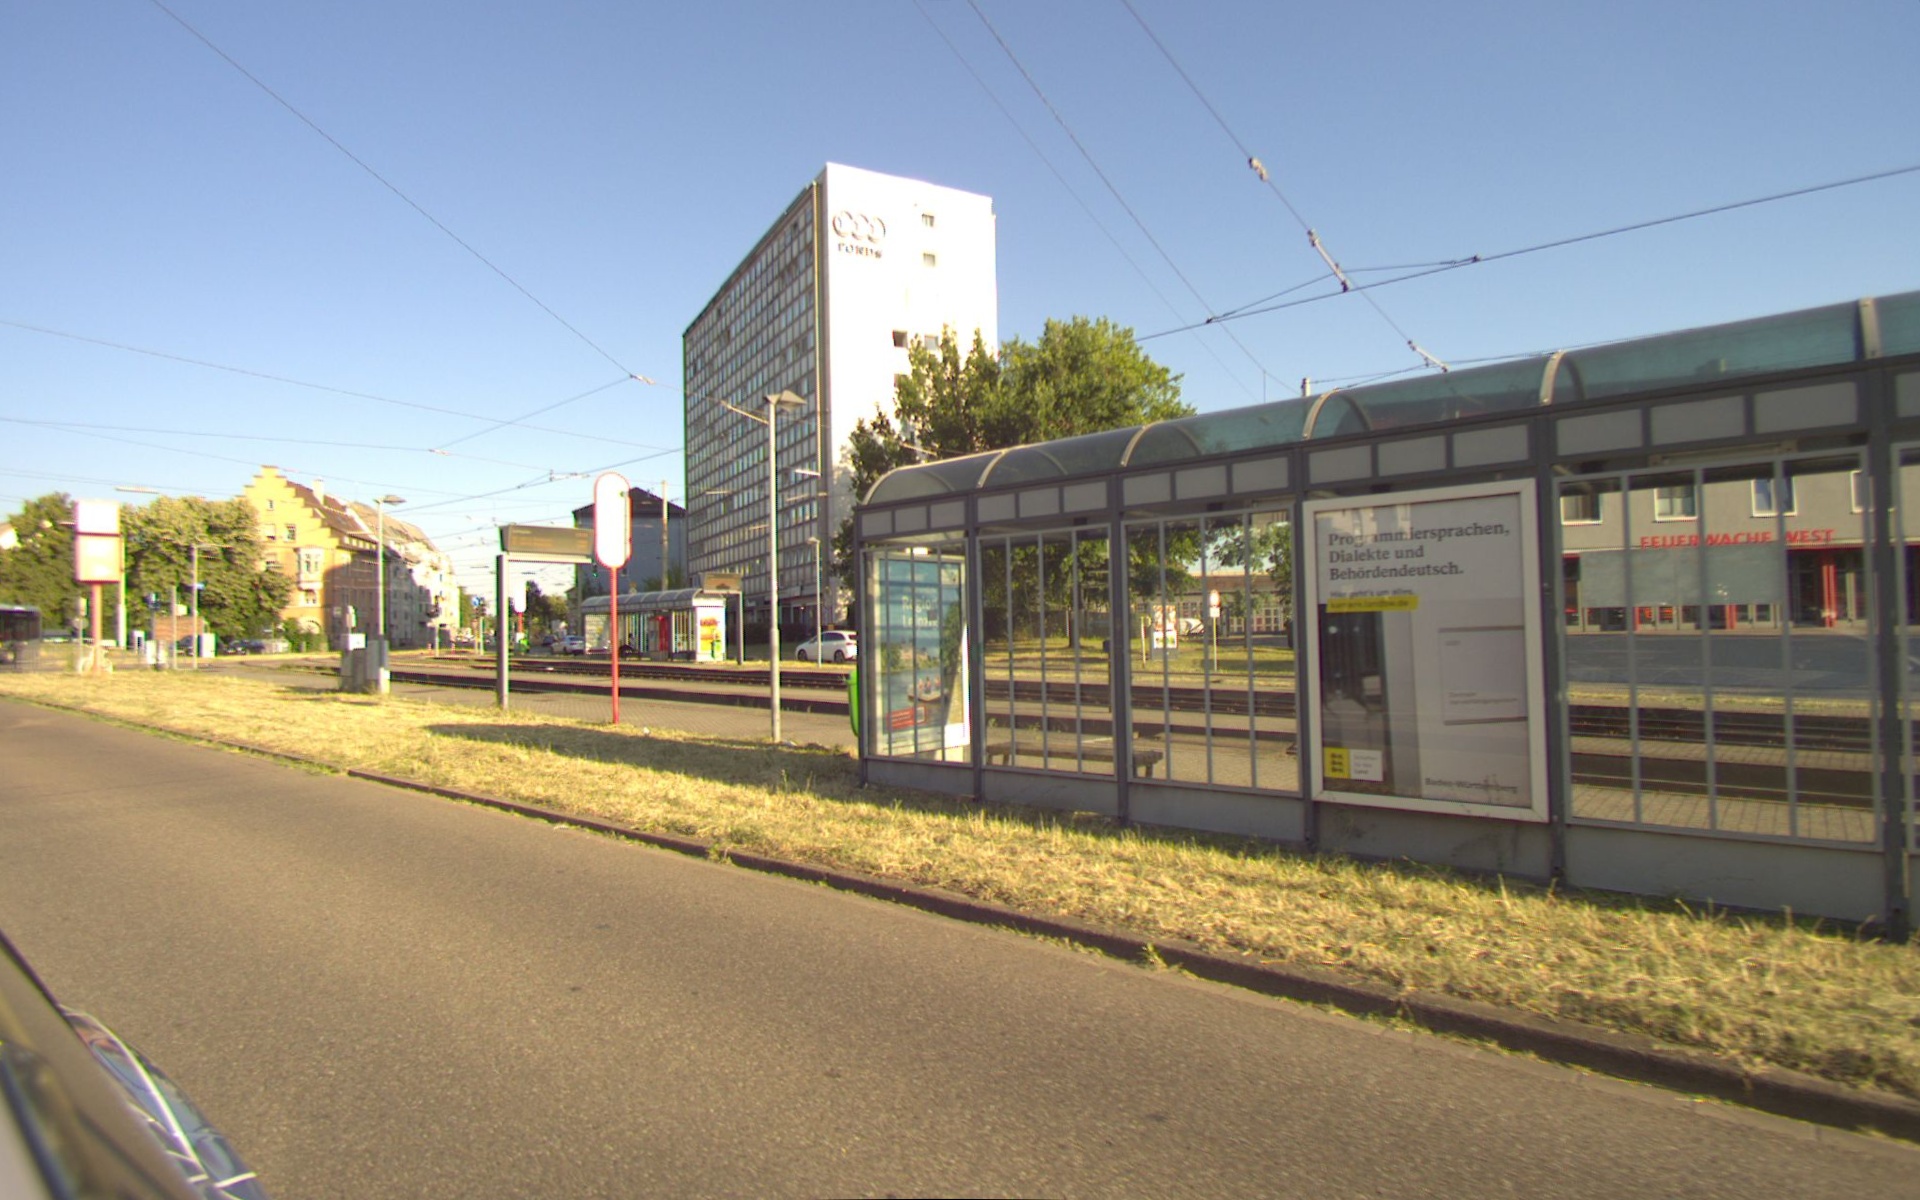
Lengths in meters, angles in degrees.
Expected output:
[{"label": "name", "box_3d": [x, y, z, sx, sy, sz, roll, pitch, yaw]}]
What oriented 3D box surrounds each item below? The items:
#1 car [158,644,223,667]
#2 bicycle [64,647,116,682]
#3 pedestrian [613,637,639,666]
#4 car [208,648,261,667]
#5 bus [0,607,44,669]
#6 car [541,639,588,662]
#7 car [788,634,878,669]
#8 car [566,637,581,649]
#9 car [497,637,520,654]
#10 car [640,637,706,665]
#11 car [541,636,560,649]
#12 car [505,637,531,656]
[{"label": "car", "box_3d": [-53.778, 3.865, 70.813, 1.716, 1.485, 3.981, -1, -2, -3]}, {"label": "bicycle", "box_3d": [-26.460, 1.937, 30.811, 0.597, 1.001, 1.752, 0, -2, -20]}, {"label": "pedestrian", "box_3d": [-15.645, 2.405, 47.390, 0.661, 1.277, 0.942, -1, -1, 37]}, {"label": "car", "box_3d": [-59.776, 4.736, 83.430, 1.716, 1.425, 3.981, -1, -2, -3]}, {"label": "bus", "box_3d": [-48.404, 1.869, 49.264, 2.568, 3.048, 8.887, 0, -2, -21]}, {"label": "car", "box_3d": [-26.697, 3.415, 68.313, 1.714, 1.485, 4.136, 1, -2, -40]}, {"label": "car", "box_3d": [-5.985, 2.395, 47.364, 4.435, 1.560, 1.717, -3, -3, 43]}, {"label": "car", "box_3d": [-57.428, 6.416, 150.259, 1.850, 1.701, 4.142, 0, -2, -18]}, {"label": "car", "box_3d": [-41.809, 4.216, 93.743, 1.850, 1.485, 4.142, 0, -2, -22]}, {"label": "car", "box_3d": [-16.408, 2.917, 57.760, 4.129, 1.485, 1.717, -3, -3, 43]}, {"label": "car", "box_3d": [-50.967, 5.297, 125.931, 1.850, 1.485, 4.142, 0, -2, -18]}, {"label": "car", "box_3d": [-35.492, 3.727, 81.163, 1.712, 1.485, 4.142, 0, -2, -27]}]
